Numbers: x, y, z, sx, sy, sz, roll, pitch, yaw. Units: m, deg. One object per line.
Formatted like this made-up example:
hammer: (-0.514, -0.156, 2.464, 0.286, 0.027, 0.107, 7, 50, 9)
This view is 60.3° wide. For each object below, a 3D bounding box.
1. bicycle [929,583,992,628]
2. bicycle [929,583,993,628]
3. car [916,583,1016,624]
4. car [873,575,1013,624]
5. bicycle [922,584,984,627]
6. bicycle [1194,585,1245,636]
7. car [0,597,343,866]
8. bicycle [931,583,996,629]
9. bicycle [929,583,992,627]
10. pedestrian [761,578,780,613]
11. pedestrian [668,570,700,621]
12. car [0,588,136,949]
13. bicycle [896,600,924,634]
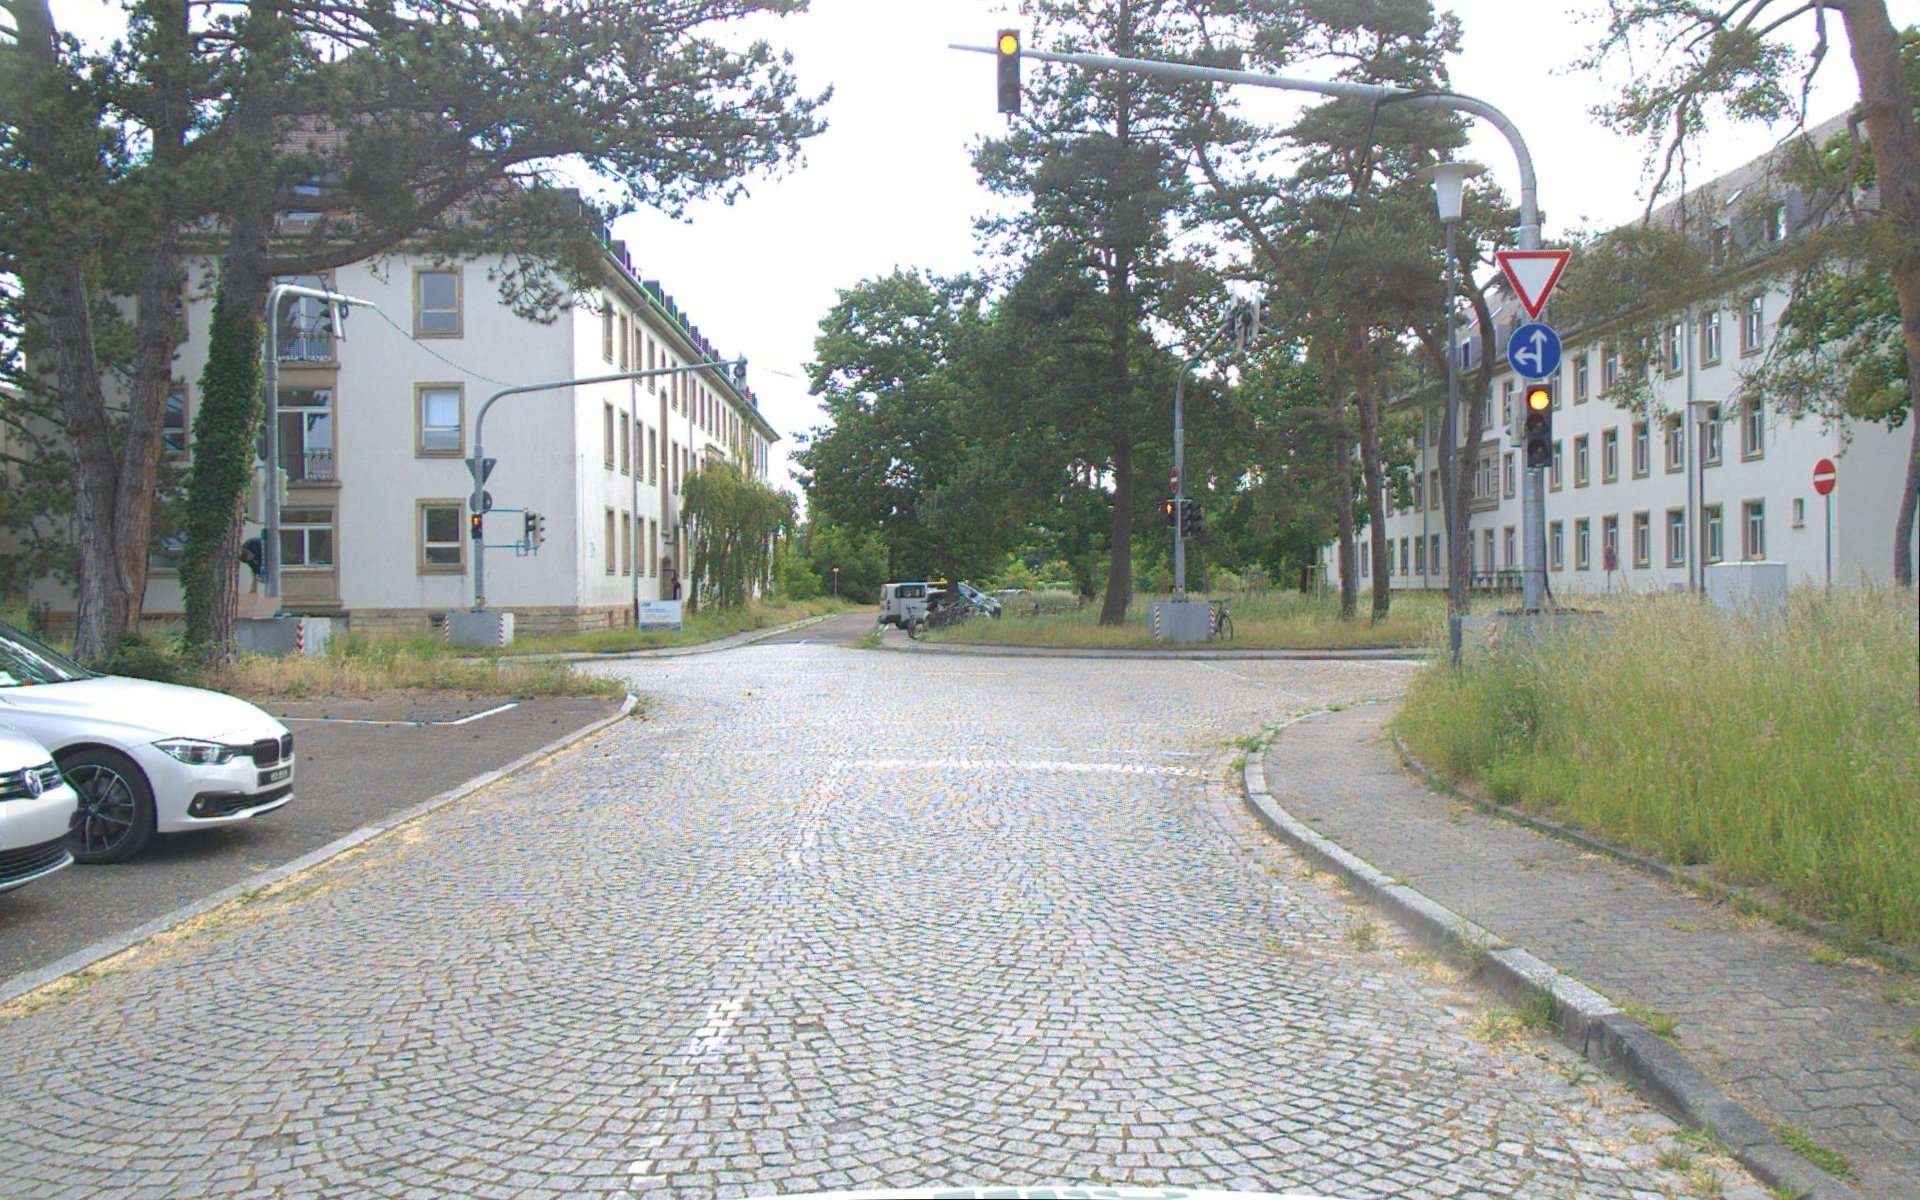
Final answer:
bicycle: (0.023, 0.175, 53.754, 2.027, 1.402, 0.620, -1, 0, -1)
bicycle: (0.039, 0.176, 53.130, 2.027, 1.402, 0.620, -1, 0, -1)
car: (0.216, 0.121, 66.984, 3.856, 1.571, 1.998, -1, 0, -6)
car: (-0.732, -0.042, 70.334, 5.595, 1.943, 2.222, -1, 0, -14)
bicycle: (-0.225, 0.168, 55.344, 2.027, 1.402, 0.620, -1, 0, -1)
bicycle: (6.313, 0.247, 40.322, 0.890, 1.197, 1.873, -1, 0, -2)
car: (-6.411, 0.720, 10.138, 4.557, 1.469, 1.800, 1, 0, -5)
bicycle: (0.096, 0.179, 52.460, 2.027, 1.402, 0.620, -1, 0, -1)
bicycle: (0.014, 0.174, 54.551, 2.027, 1.402, 0.620, -1, 0, -1)
pedestrian: (-11.371, -0.275, 99.379, 0.938, 2.049, 0.796, -1, 0, 8)
pedestrian: (-11.294, -0.176, 67.715, 1.064, 2.049, 1.022, -1, 0, 4)
car: (-6.216, 0.701, 7.638, 3.910, 1.574, 1.722, 1, 0, -6)
bicycle: (-1.524, 0.500, 50.630, 0.605, 0.980, 2.078, -1, 0, 6)
